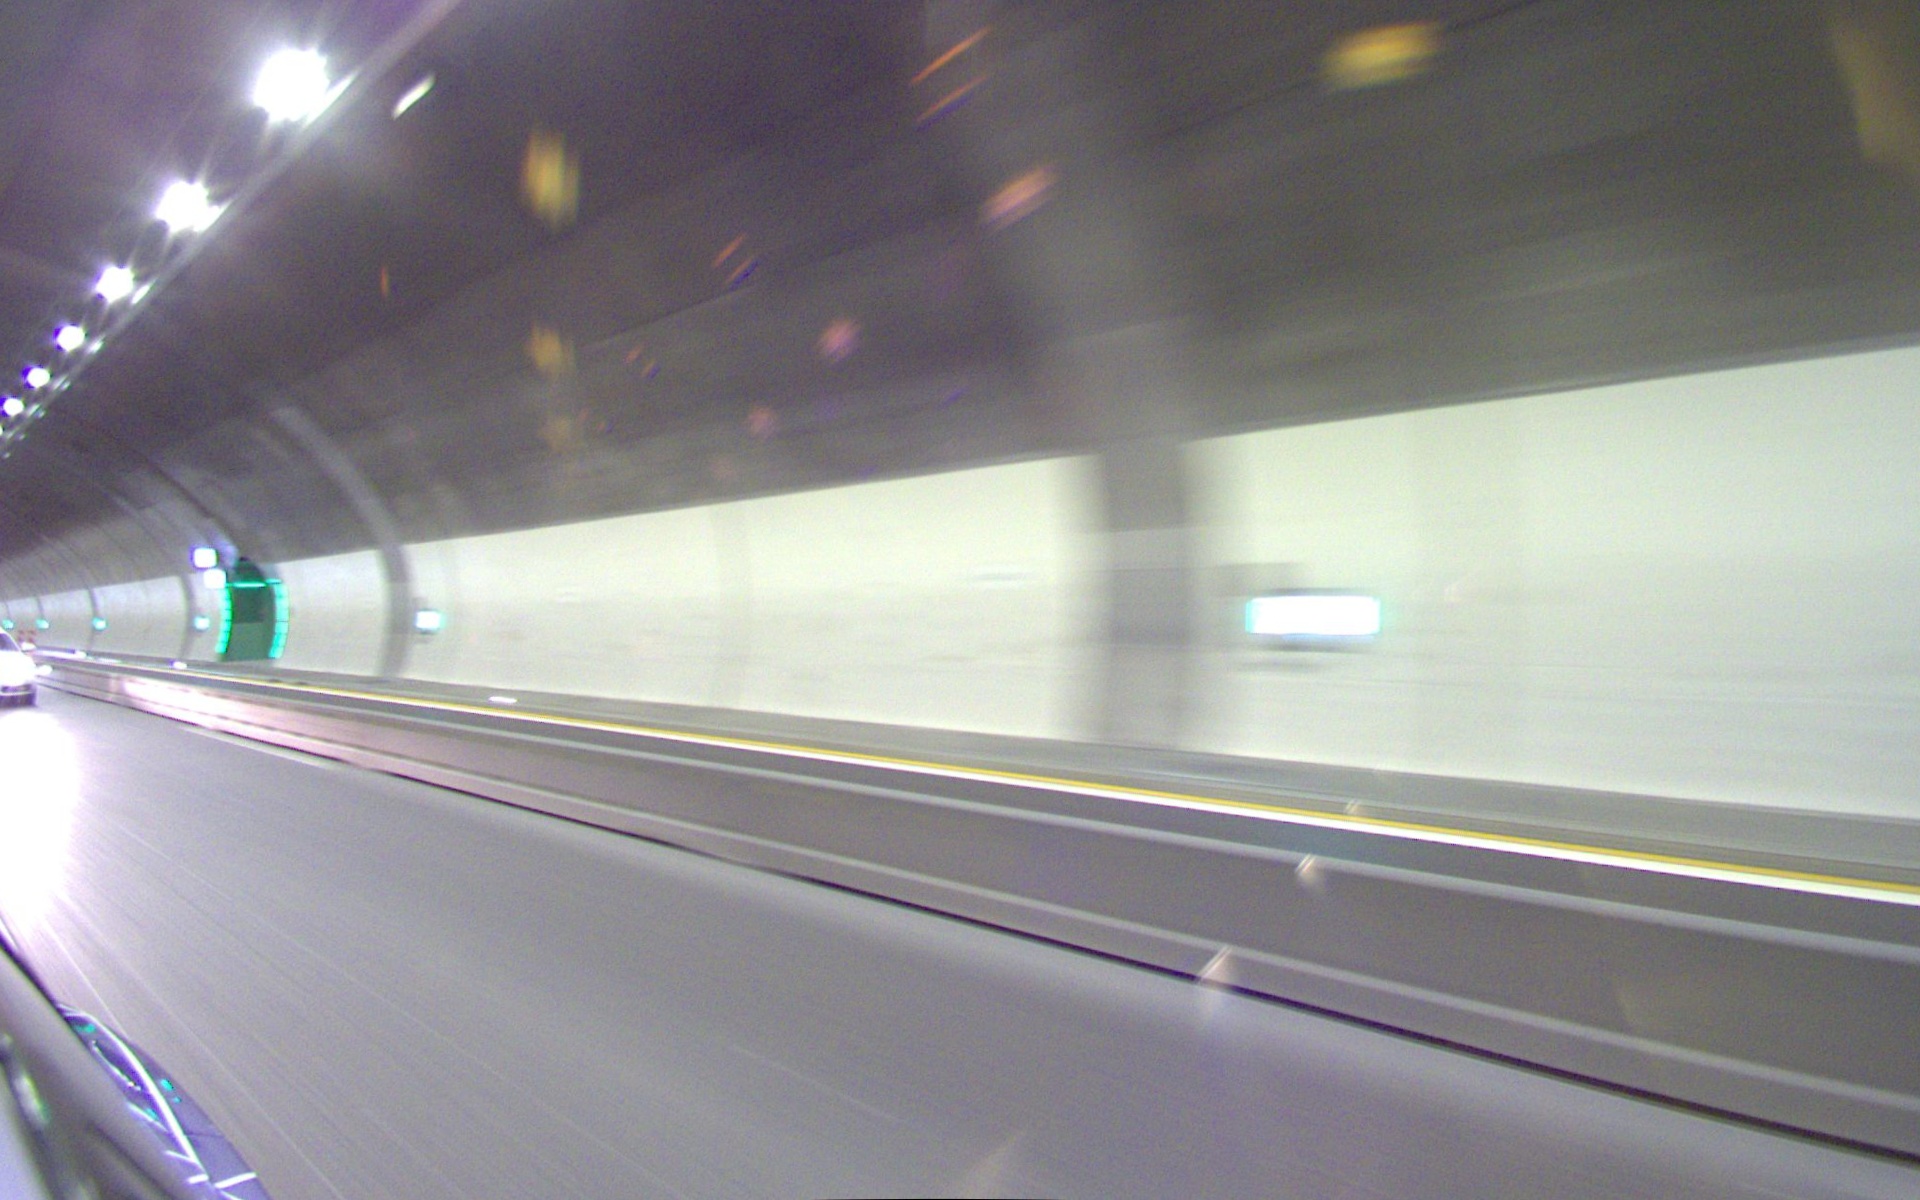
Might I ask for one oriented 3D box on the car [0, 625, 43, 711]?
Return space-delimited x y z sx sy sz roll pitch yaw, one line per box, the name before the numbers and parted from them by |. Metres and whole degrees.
car | -18.954 1.258 19.068 4.940 1.496 1.884 -2 -1 41
